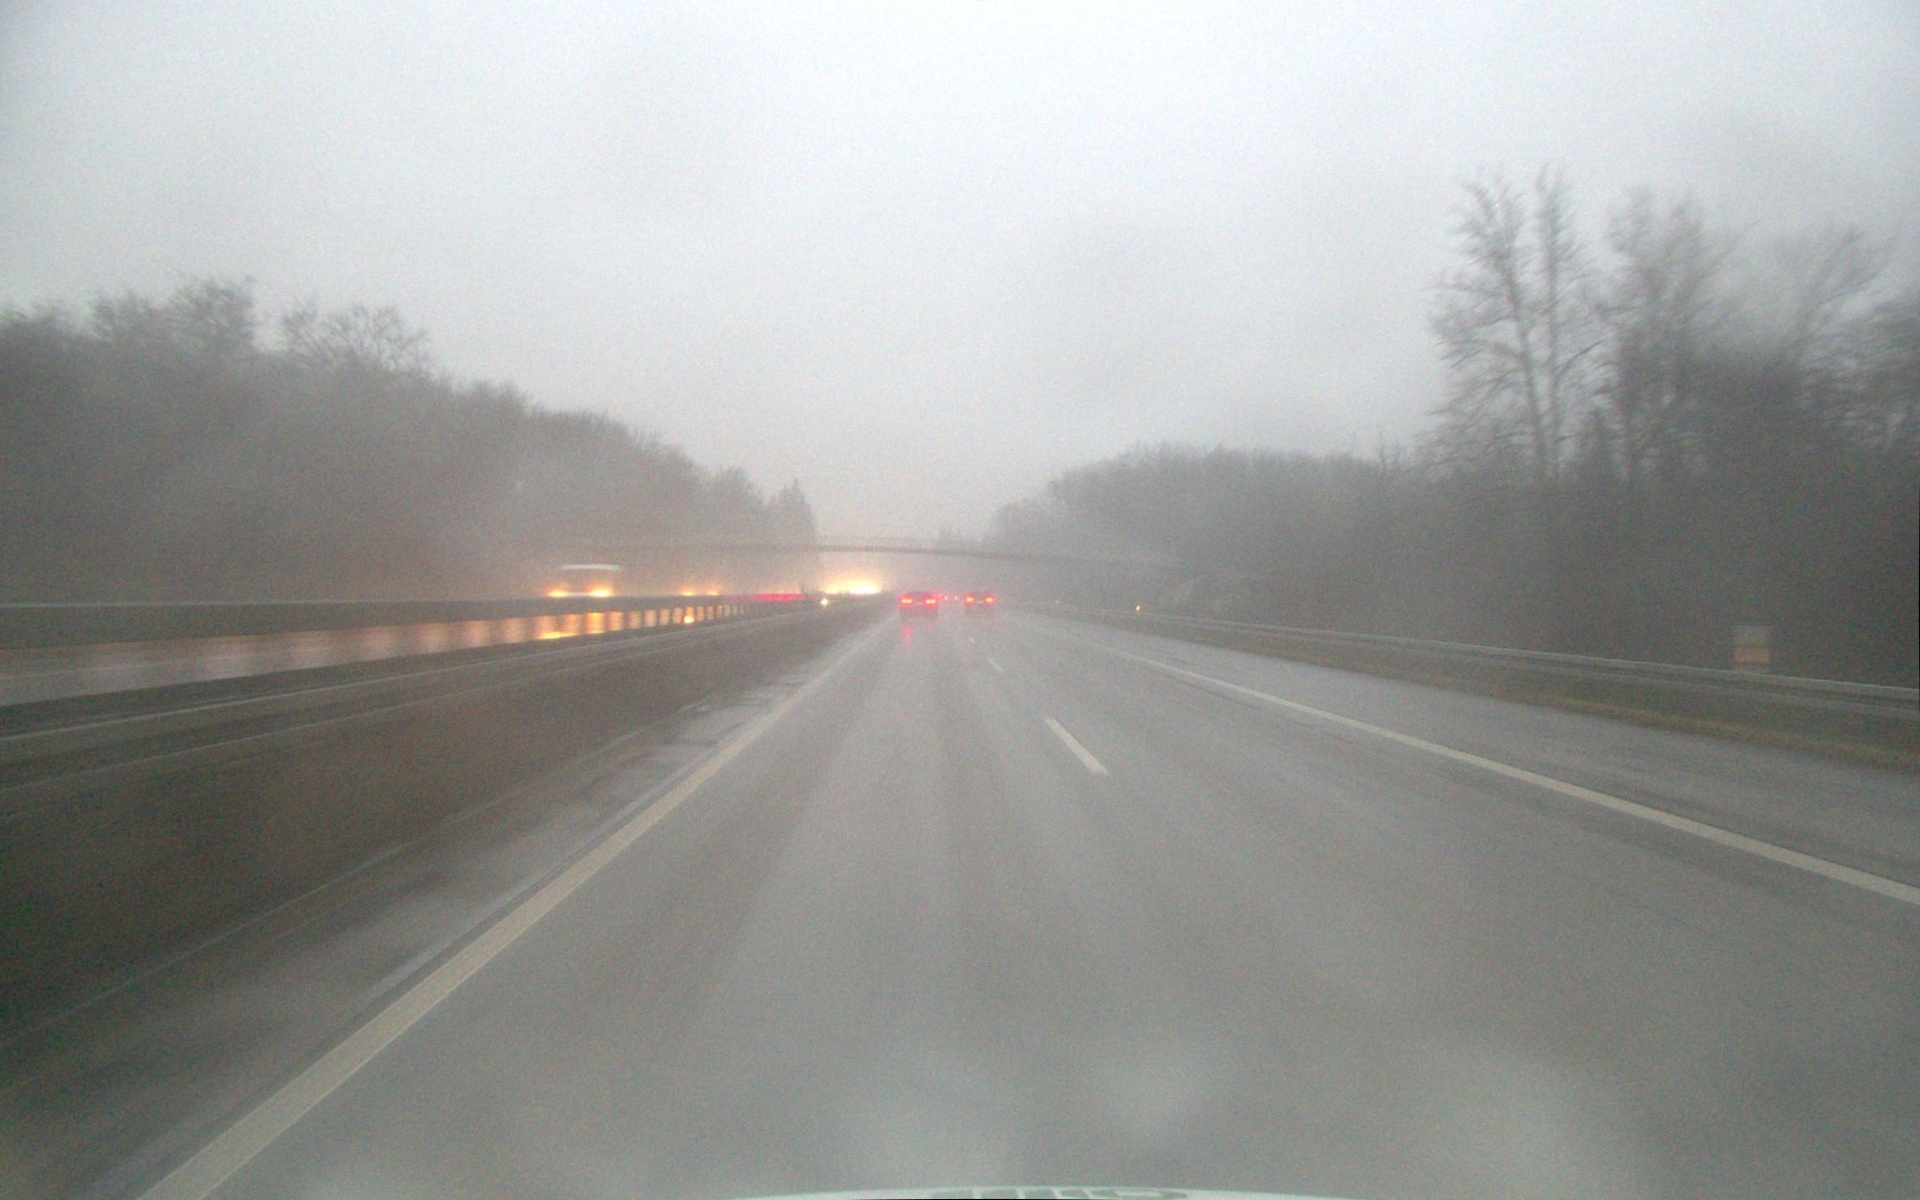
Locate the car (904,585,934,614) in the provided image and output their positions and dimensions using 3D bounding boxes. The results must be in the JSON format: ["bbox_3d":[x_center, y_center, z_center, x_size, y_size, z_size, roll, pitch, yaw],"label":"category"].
[{"bbox_3d":[-2.029,-0.023,82.697,1.424,1.367,3.489,1,0,-1],"label":"car"}]

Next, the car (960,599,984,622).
[{"bbox_3d":[0.739,0.665,105.494,1.424,1.454,3.489,2,0,-1],"label":"car"}]
